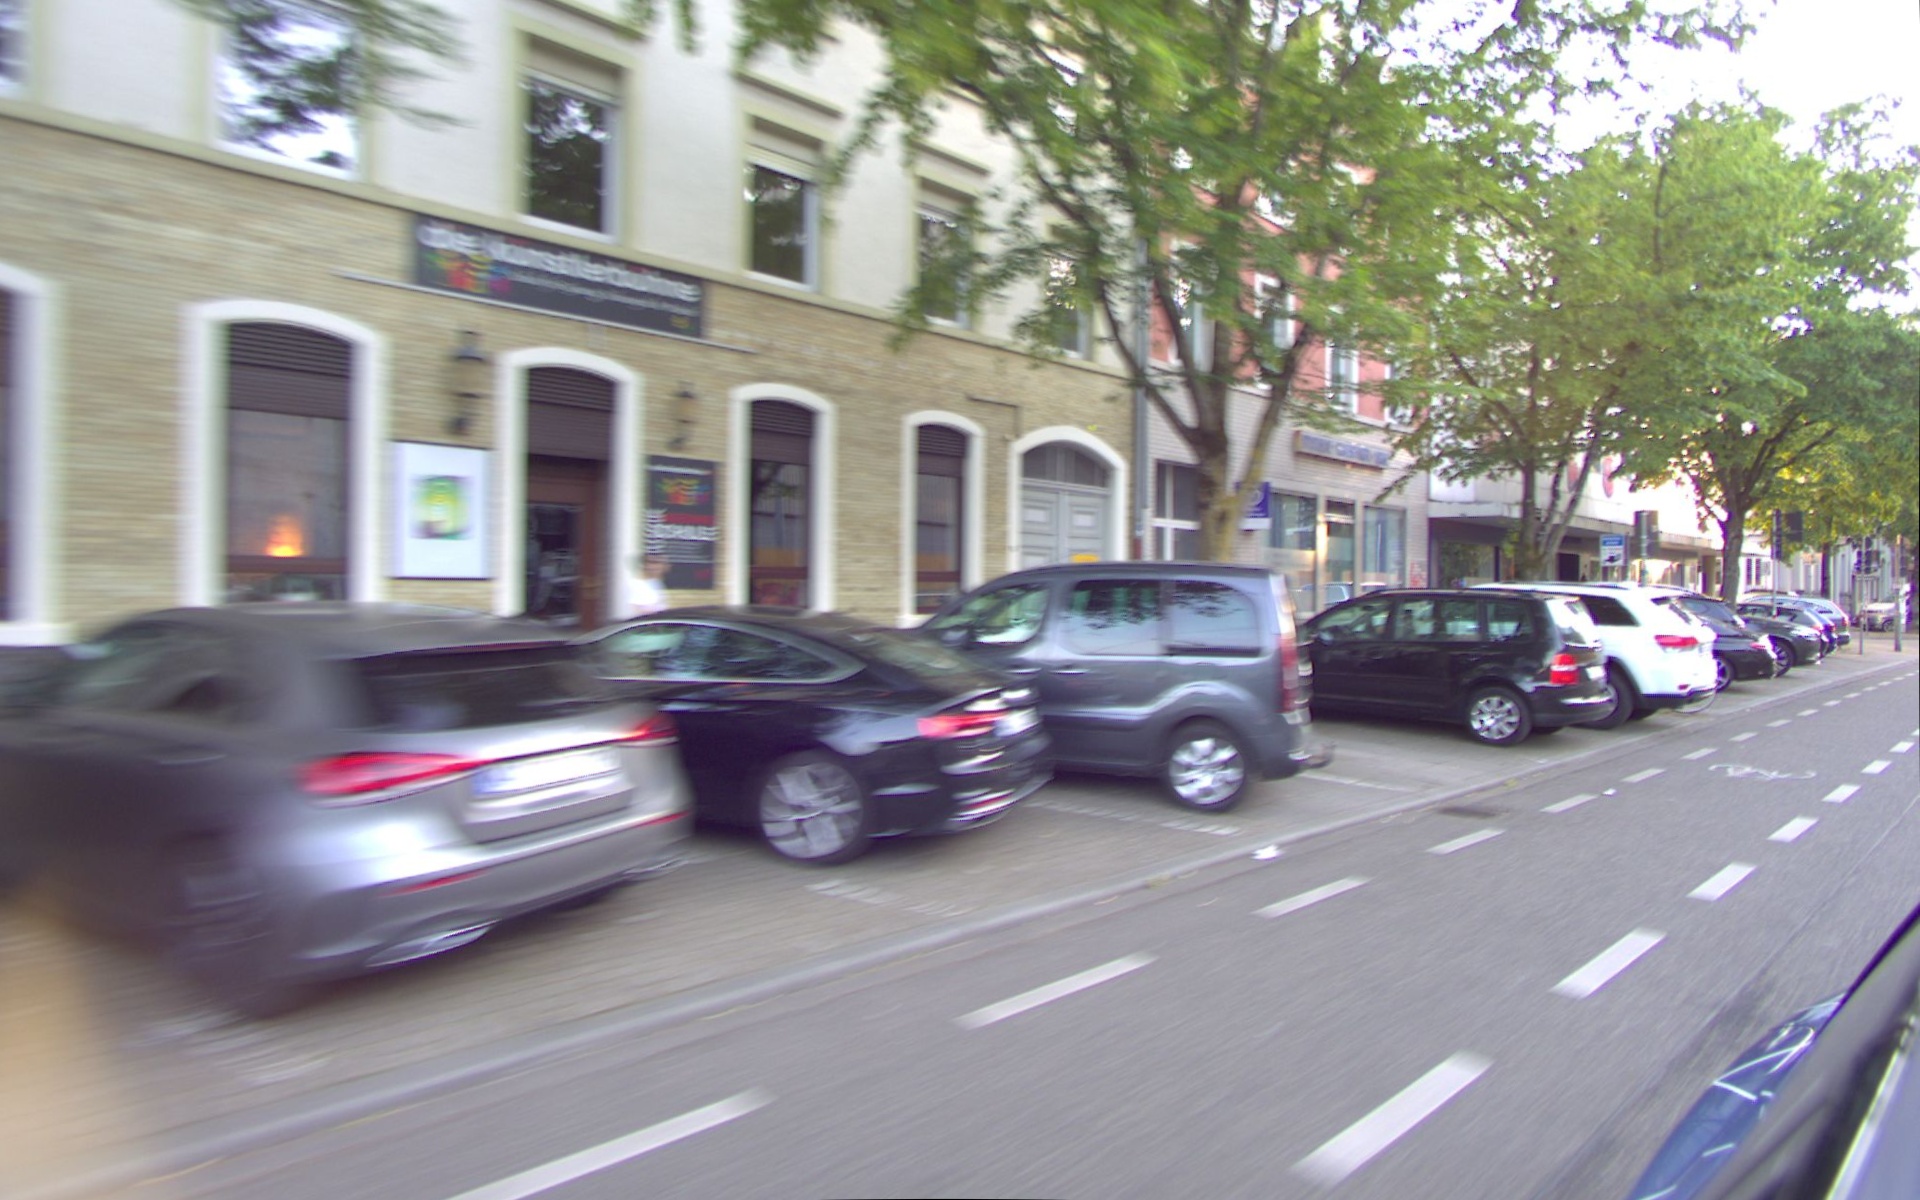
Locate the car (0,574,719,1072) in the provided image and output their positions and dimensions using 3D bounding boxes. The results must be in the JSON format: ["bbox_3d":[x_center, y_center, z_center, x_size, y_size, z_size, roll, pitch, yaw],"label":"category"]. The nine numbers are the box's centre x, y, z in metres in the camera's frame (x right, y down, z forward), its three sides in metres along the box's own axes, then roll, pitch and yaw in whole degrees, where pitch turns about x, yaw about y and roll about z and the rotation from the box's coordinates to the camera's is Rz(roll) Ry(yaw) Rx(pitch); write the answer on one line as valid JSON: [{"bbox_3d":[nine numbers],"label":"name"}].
[{"bbox_3d":[-3.138,0.645,4.748,3.751,1.425,1.689,3,2,29],"label":"car"}]

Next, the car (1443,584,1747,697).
[{"bbox_3d":[9.951,0.568,16.200,3.710,1.444,1.718,3,2,18],"label":"car"}]

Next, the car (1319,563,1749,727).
[{"bbox_3d":[7.561,0.443,13.758,1.973,1.708,4.658,1,3,-41],"label":"car"}]

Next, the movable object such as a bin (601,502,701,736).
[{"bbox_3d":[-2.826,0.161,9.253,0.683,2.039,0.614,0,0,-42],"label":"movable object such as a bin"}]

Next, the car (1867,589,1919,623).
[{"bbox_3d":[45.789,0.352,47.361,4.556,1.532,1.848,3,1,23],"label":"car"}]

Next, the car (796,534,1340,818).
[{"bbox_3d":[0.937,0.434,8.418,4.112,1.829,1.994,2,2,22],"label":"car"}]

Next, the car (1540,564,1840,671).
[{"bbox_3d":[15.428,0.279,21.813,4.943,1.849,2.183,4,3,32],"label":"car"}]

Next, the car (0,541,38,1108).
[{"bbox_3d":[-4.734,0.563,2.922,3.932,1.572,1.692,2,2,25],"label":"car"}]

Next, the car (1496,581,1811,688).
[{"bbox_3d":[12.060,0.517,17.997,4.178,1.444,1.962,4,3,22],"label":"car"}]

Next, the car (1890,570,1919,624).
[{"bbox_3d":[50.981,-0.120,51.072,5.560,2.728,2.161,1,0,16],"label":"car"}]

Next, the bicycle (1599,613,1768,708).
[{"bbox_3d":[10.013,0.811,14.071,1.831,1.116,0.491,4,2,36],"label":"bicycle"}]

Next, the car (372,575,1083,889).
[{"bbox_3d":[-1.497,0.630,6.671,4.270,1.406,1.795,3,2,20],"label":"car"}]

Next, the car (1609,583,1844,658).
[{"bbox_3d":[18.594,0.444,24.826,4.120,1.483,1.957,4,3,22],"label":"car"}]

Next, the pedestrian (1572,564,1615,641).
[{"bbox_3d":[16.967,0.066,27.091,0.772,2.009,0.693,0,2,-41],"label":"pedestrian"}]

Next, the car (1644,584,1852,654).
[{"bbox_3d":[20.670,0.457,26.739,3.845,1.520,1.803,3,2,19],"label":"car"}]

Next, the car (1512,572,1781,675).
[{"bbox_3d":[13.523,0.381,20.250,4.195,1.669,1.954,4,3,32],"label":"car"}]

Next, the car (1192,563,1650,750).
[{"bbox_3d":[5.404,0.499,12.332,4.652,1.708,1.975,4,3,45],"label":"car"}]

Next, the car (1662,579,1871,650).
[{"bbox_3d":[22.590,0.347,28.552,4.109,1.684,1.834,3,2,16],"label":"car"}]
